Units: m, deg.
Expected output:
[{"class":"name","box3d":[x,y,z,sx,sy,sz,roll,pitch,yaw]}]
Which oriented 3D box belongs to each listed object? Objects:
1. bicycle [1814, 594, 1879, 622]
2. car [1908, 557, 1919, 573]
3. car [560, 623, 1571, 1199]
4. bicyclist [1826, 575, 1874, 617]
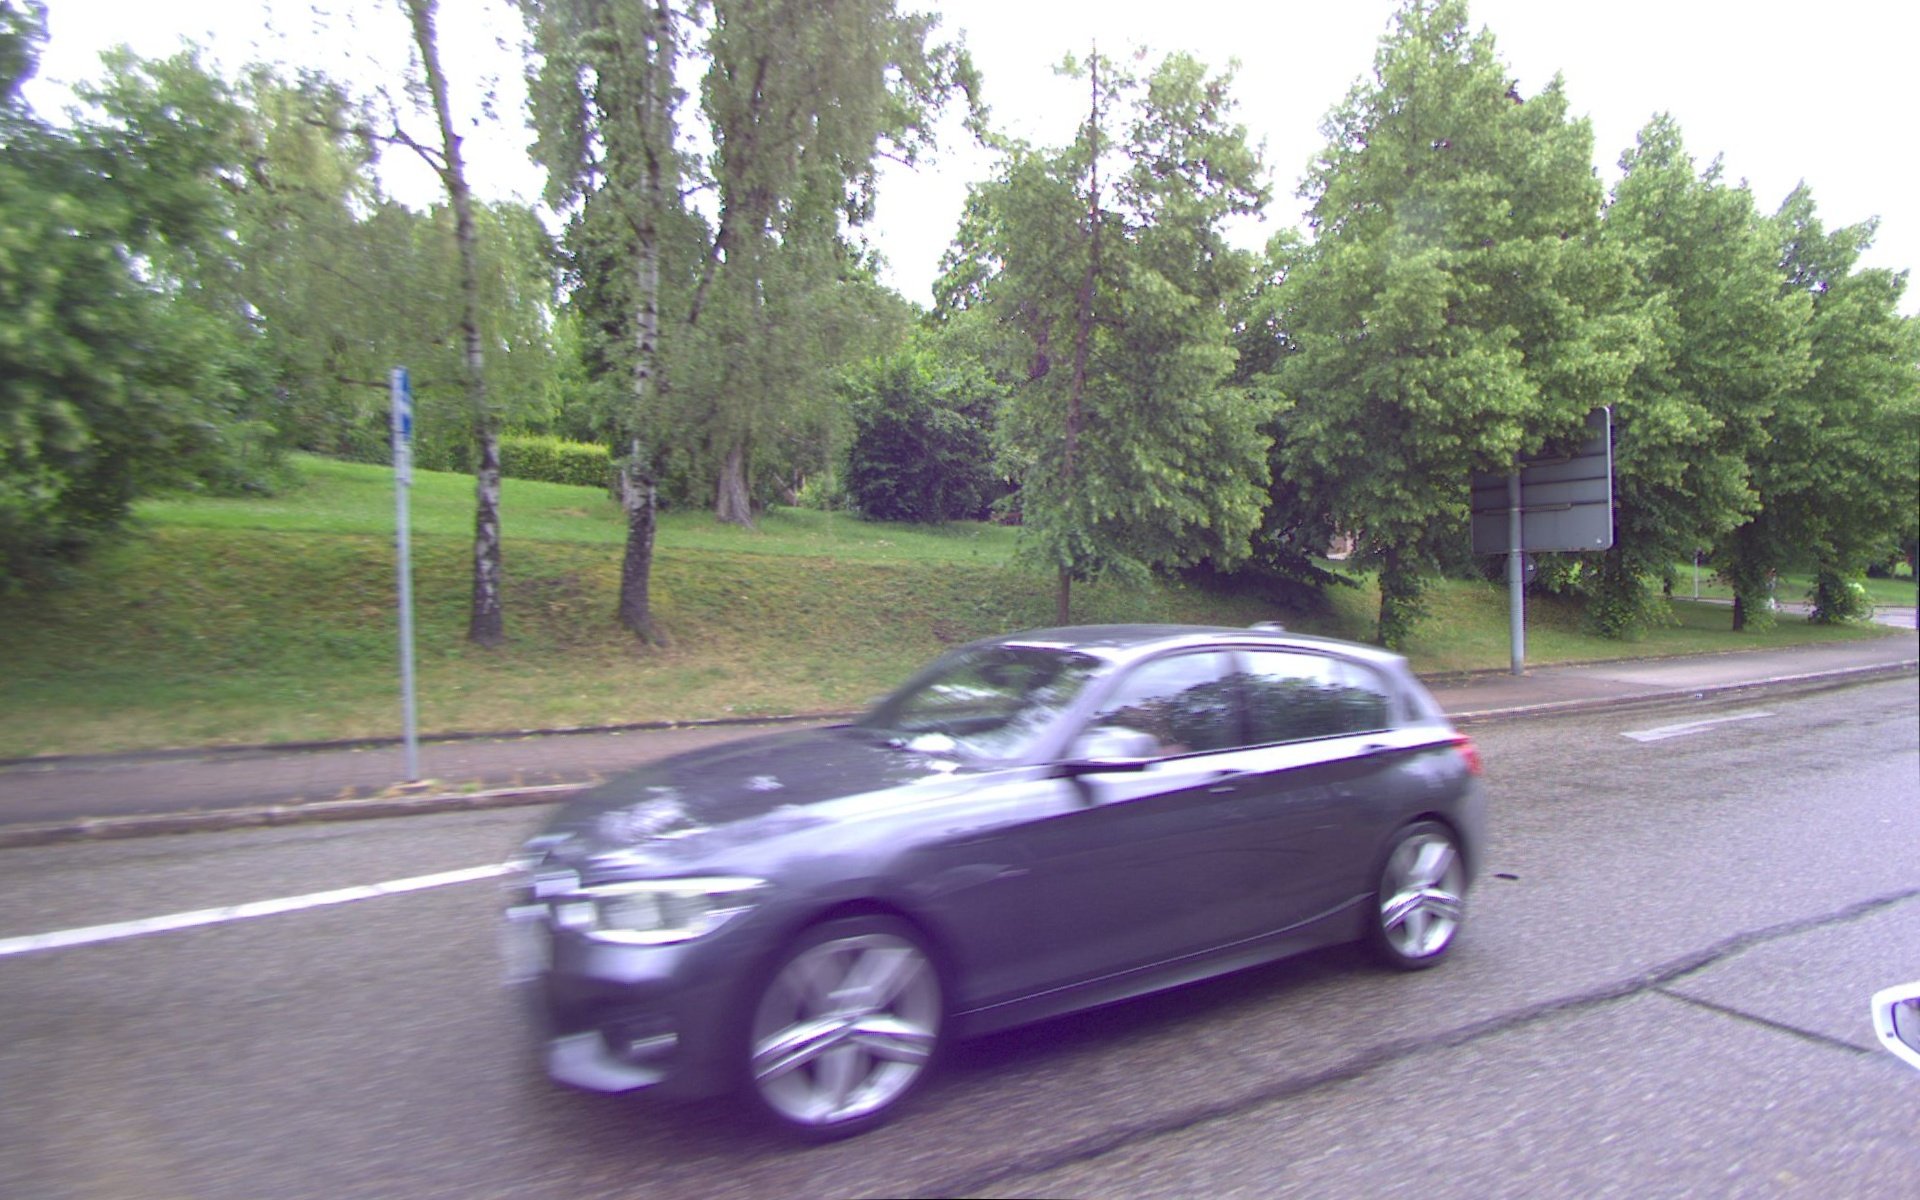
[{"class":"bicycle","box3d":[38.320,0.341,43.450,0.839,1.171,2.035,1,0,-9]},{"class":"car","box3d":[94.087,-3.327,96.785,3.851,1.506,1.925,2,2,41]},{"class":"car","box3d":[0.617,0.843,4.271,4.092,1.402,1.713,-1,-1,-31]},{"class":"bicyclist","box3d":[38.352,-0.166,43.308,0.839,1.779,1.284,1,0,-9]}]
